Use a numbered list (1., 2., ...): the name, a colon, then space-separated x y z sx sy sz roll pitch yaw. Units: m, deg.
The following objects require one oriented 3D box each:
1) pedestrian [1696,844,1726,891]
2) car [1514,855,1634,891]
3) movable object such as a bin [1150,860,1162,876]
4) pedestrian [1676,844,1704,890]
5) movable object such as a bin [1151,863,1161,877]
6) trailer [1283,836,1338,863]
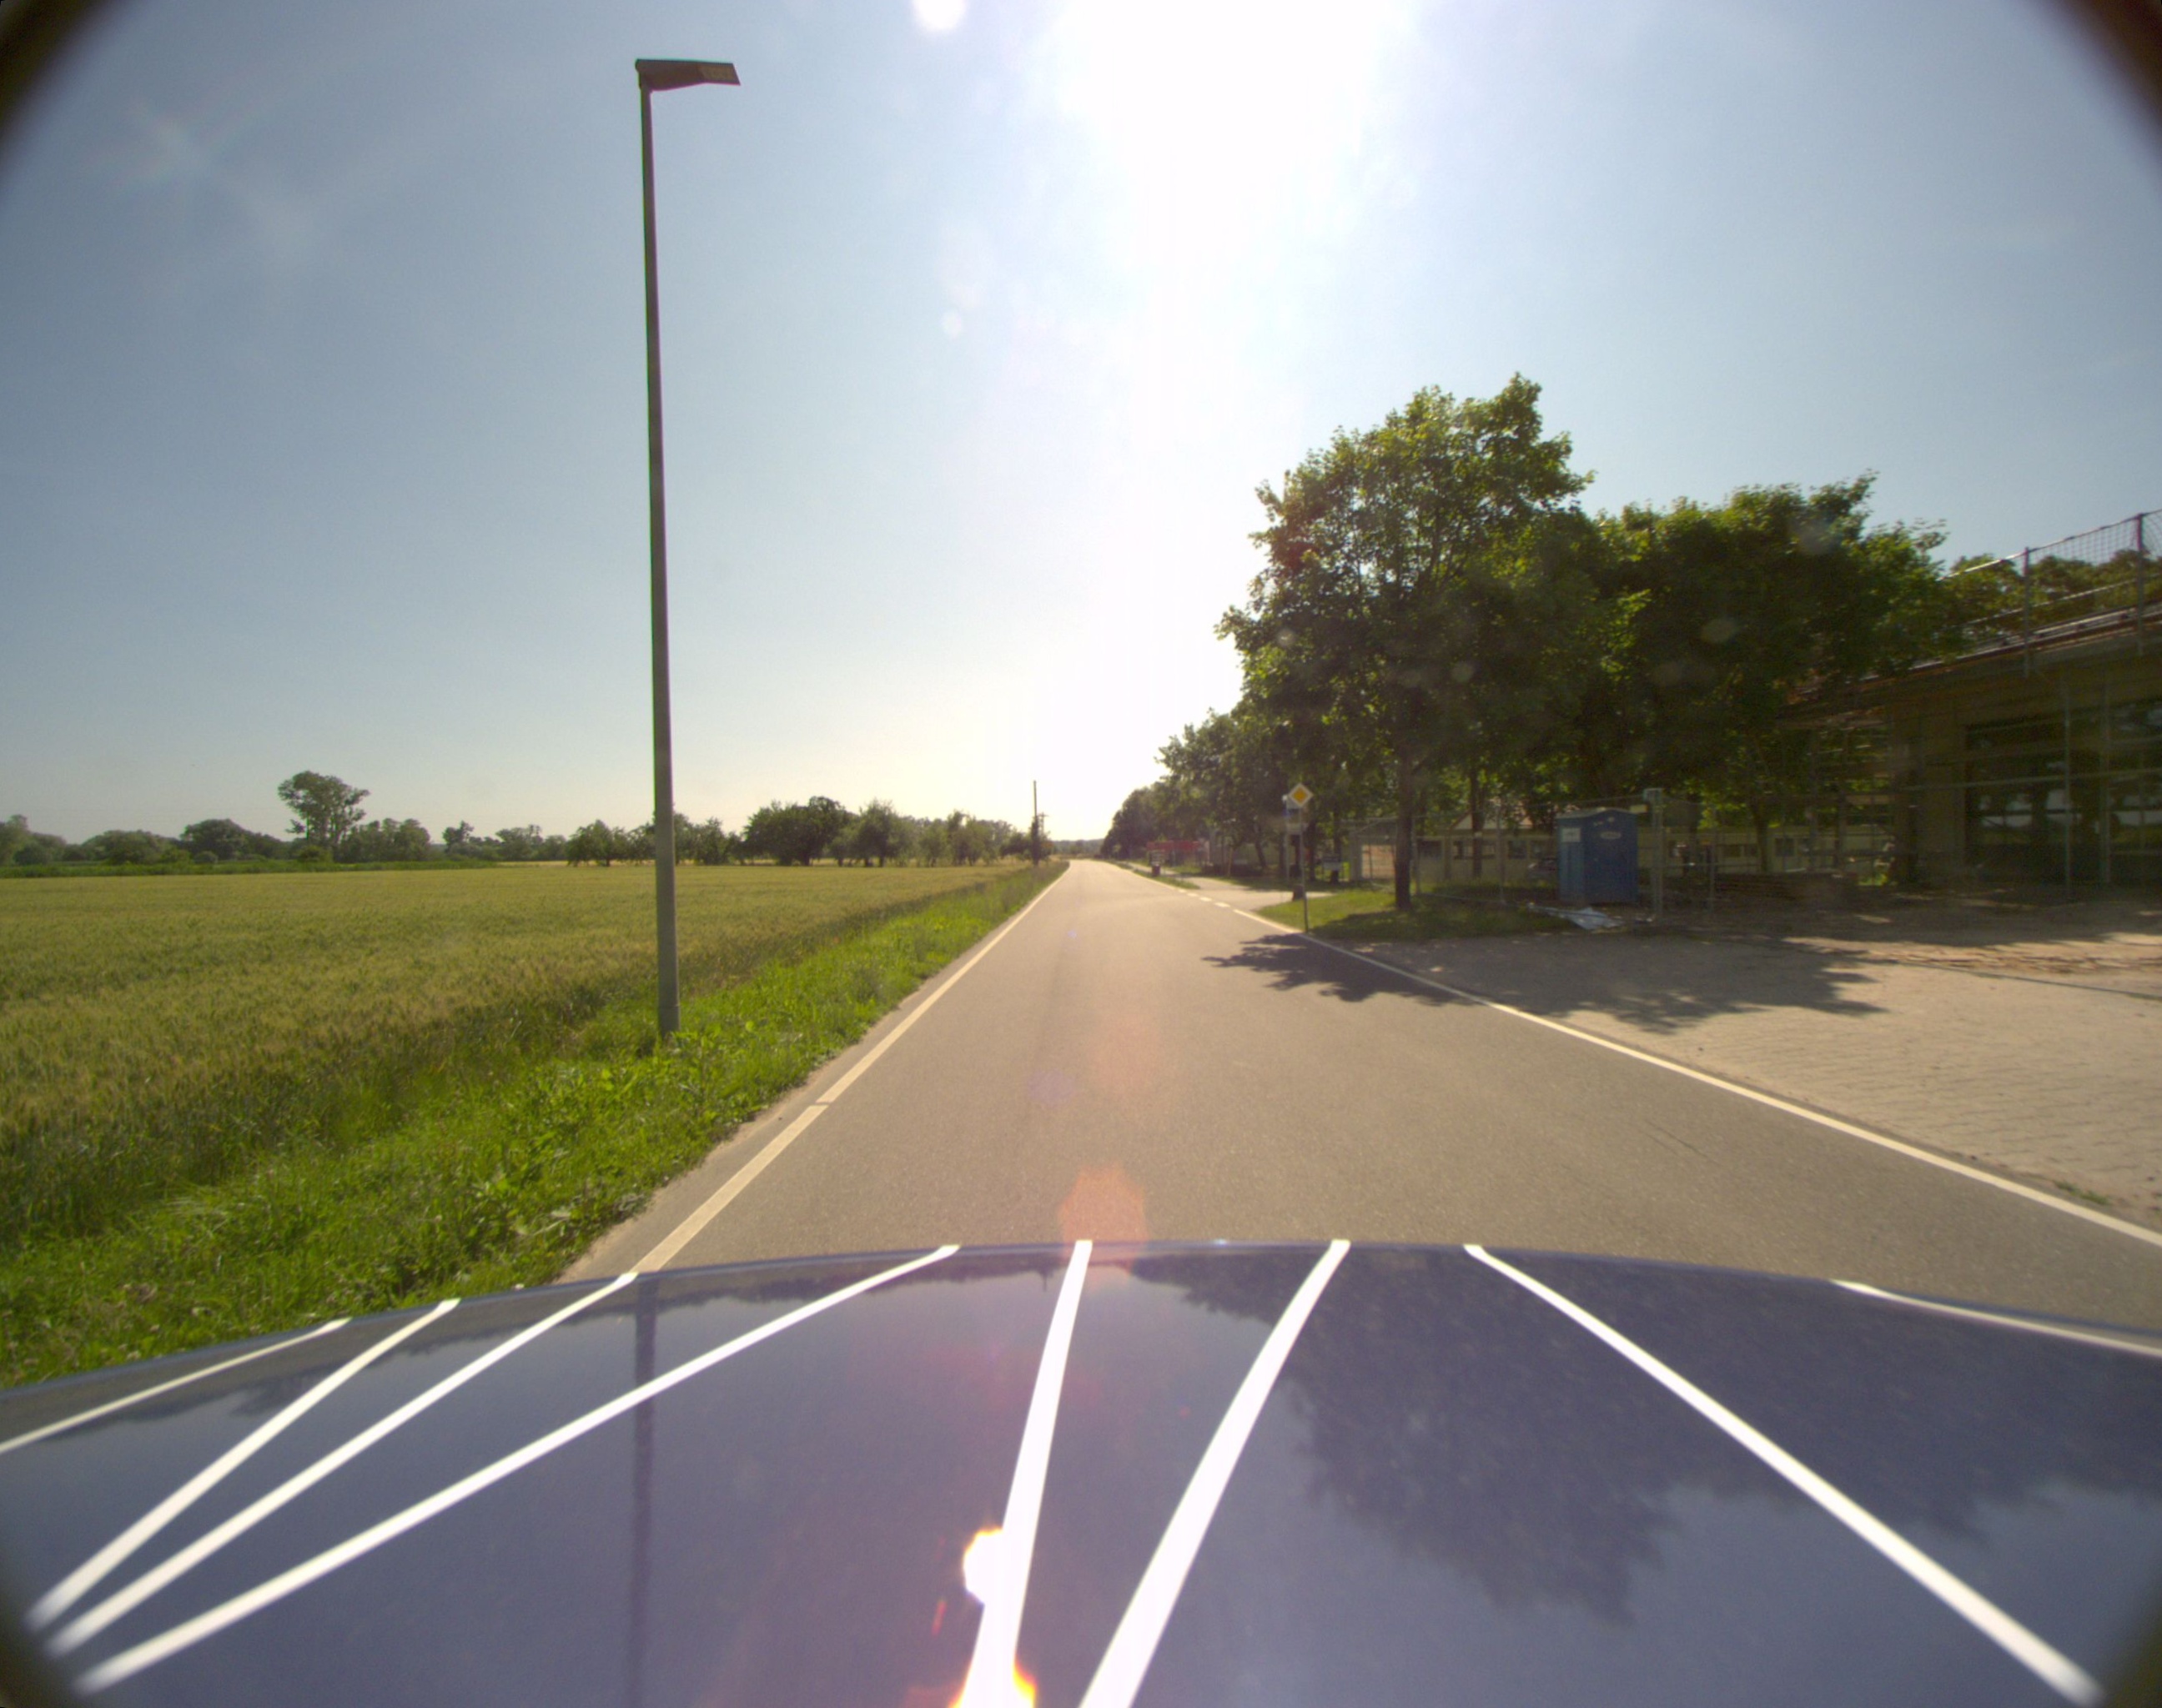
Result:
1. pedestrian: 23.376 0.486 28.210 0.605 1.741 0.586 0 1 -9
2. car: 19.828 0.747 30.646 3.812 1.391 1.758 0 0 -7
3. movable object such as a bin: 4.952 0.934 50.134 0.700 1.018 0.748 0 1 8
4. pedestrian: 23.249 0.495 29.019 0.605 1.741 0.586 0 1 -9
5. movable object such as a bin: 4.869 1.017 49.338 0.563 0.872 0.614 0 1 8
6. trailer: 19.872 -0.409 65.921 4.239 2.264 1.826 0 1 -13
